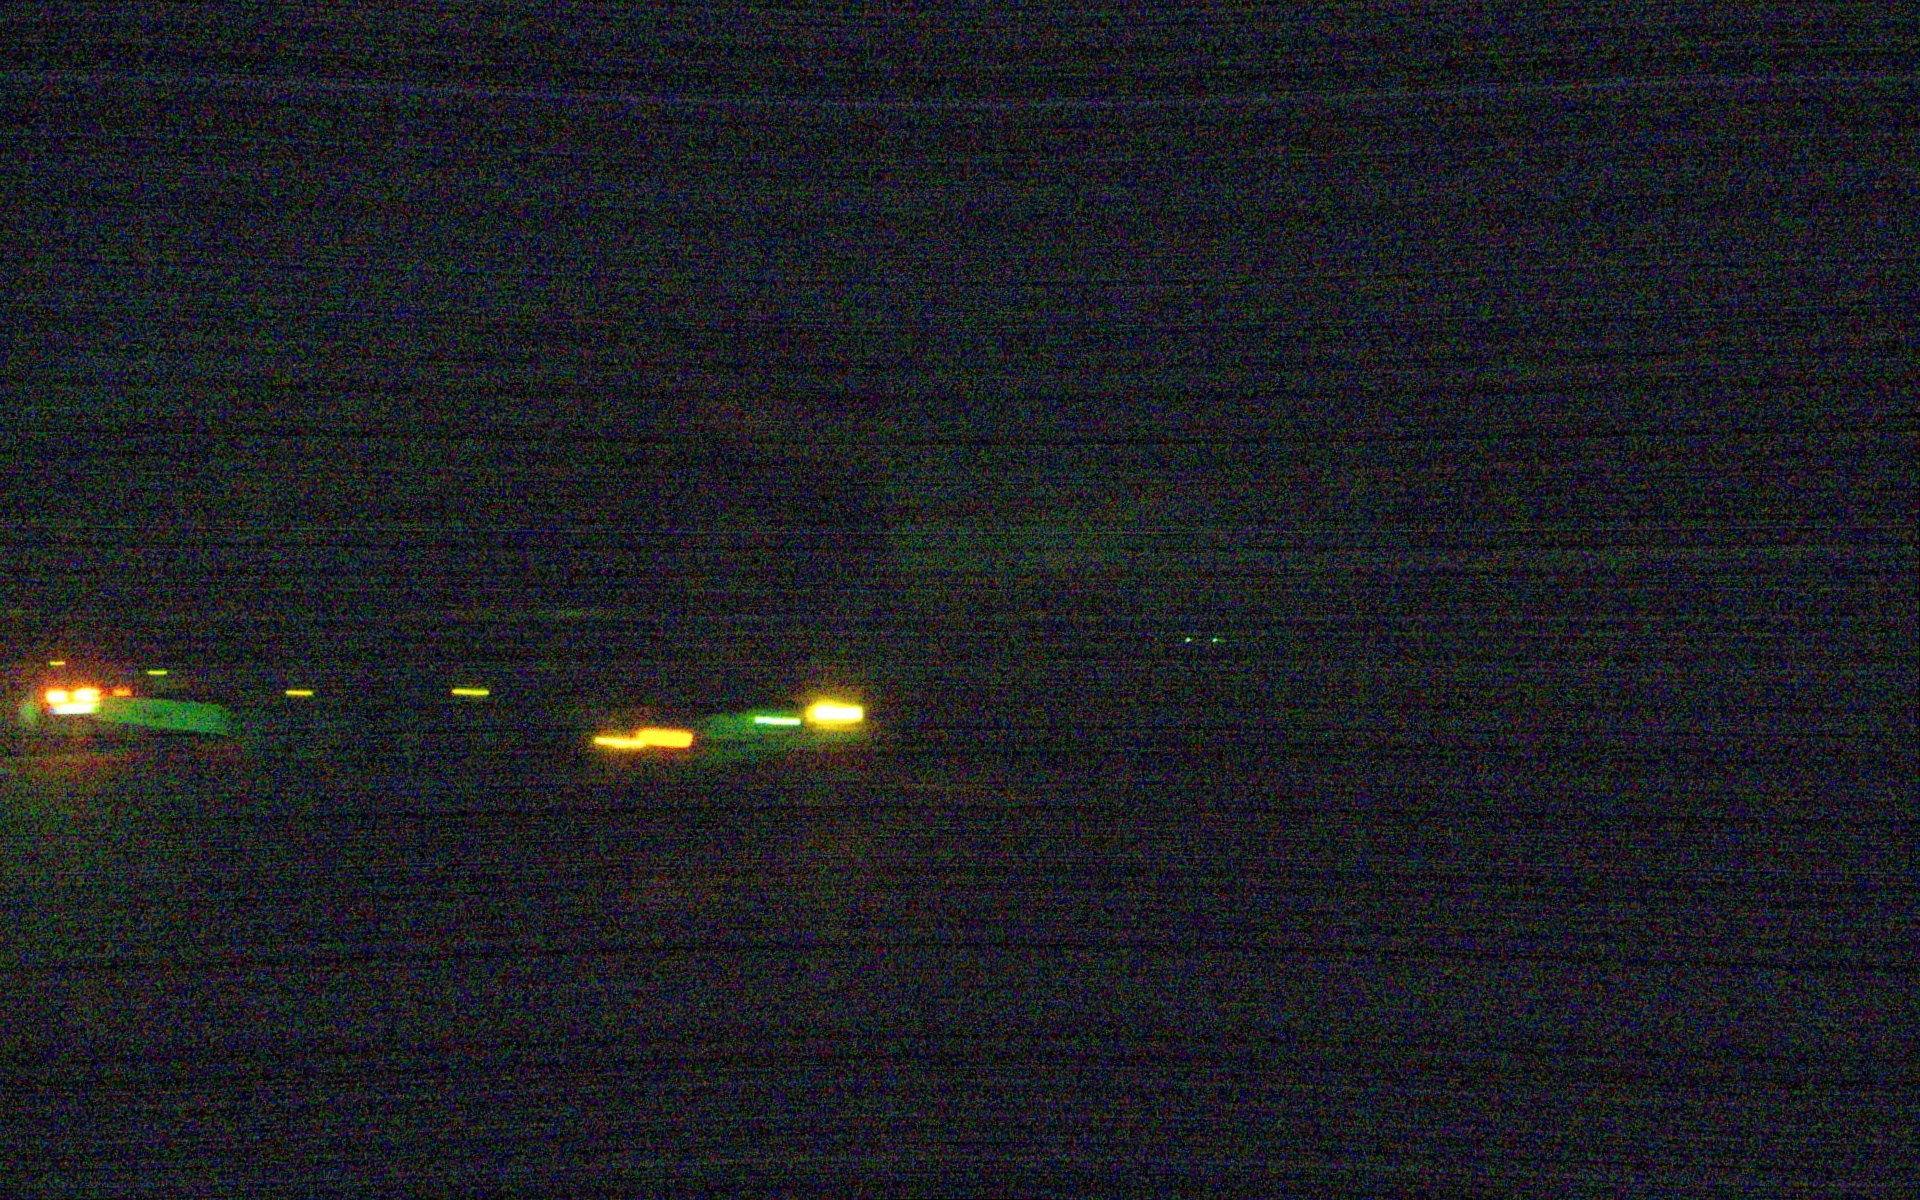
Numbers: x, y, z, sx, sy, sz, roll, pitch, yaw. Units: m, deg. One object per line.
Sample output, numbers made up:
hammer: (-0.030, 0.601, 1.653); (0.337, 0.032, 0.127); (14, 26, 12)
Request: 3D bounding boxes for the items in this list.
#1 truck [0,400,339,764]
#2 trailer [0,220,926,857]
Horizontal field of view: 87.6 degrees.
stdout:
truck: (-12.490, -0.135, 14.491); (7.399, 4.130, 2.858); (-1, 0, 30)
trailer: (-6.620, -0.293, 11.028); (13.009, 4.120, 2.850); (-1, 0, 31)
